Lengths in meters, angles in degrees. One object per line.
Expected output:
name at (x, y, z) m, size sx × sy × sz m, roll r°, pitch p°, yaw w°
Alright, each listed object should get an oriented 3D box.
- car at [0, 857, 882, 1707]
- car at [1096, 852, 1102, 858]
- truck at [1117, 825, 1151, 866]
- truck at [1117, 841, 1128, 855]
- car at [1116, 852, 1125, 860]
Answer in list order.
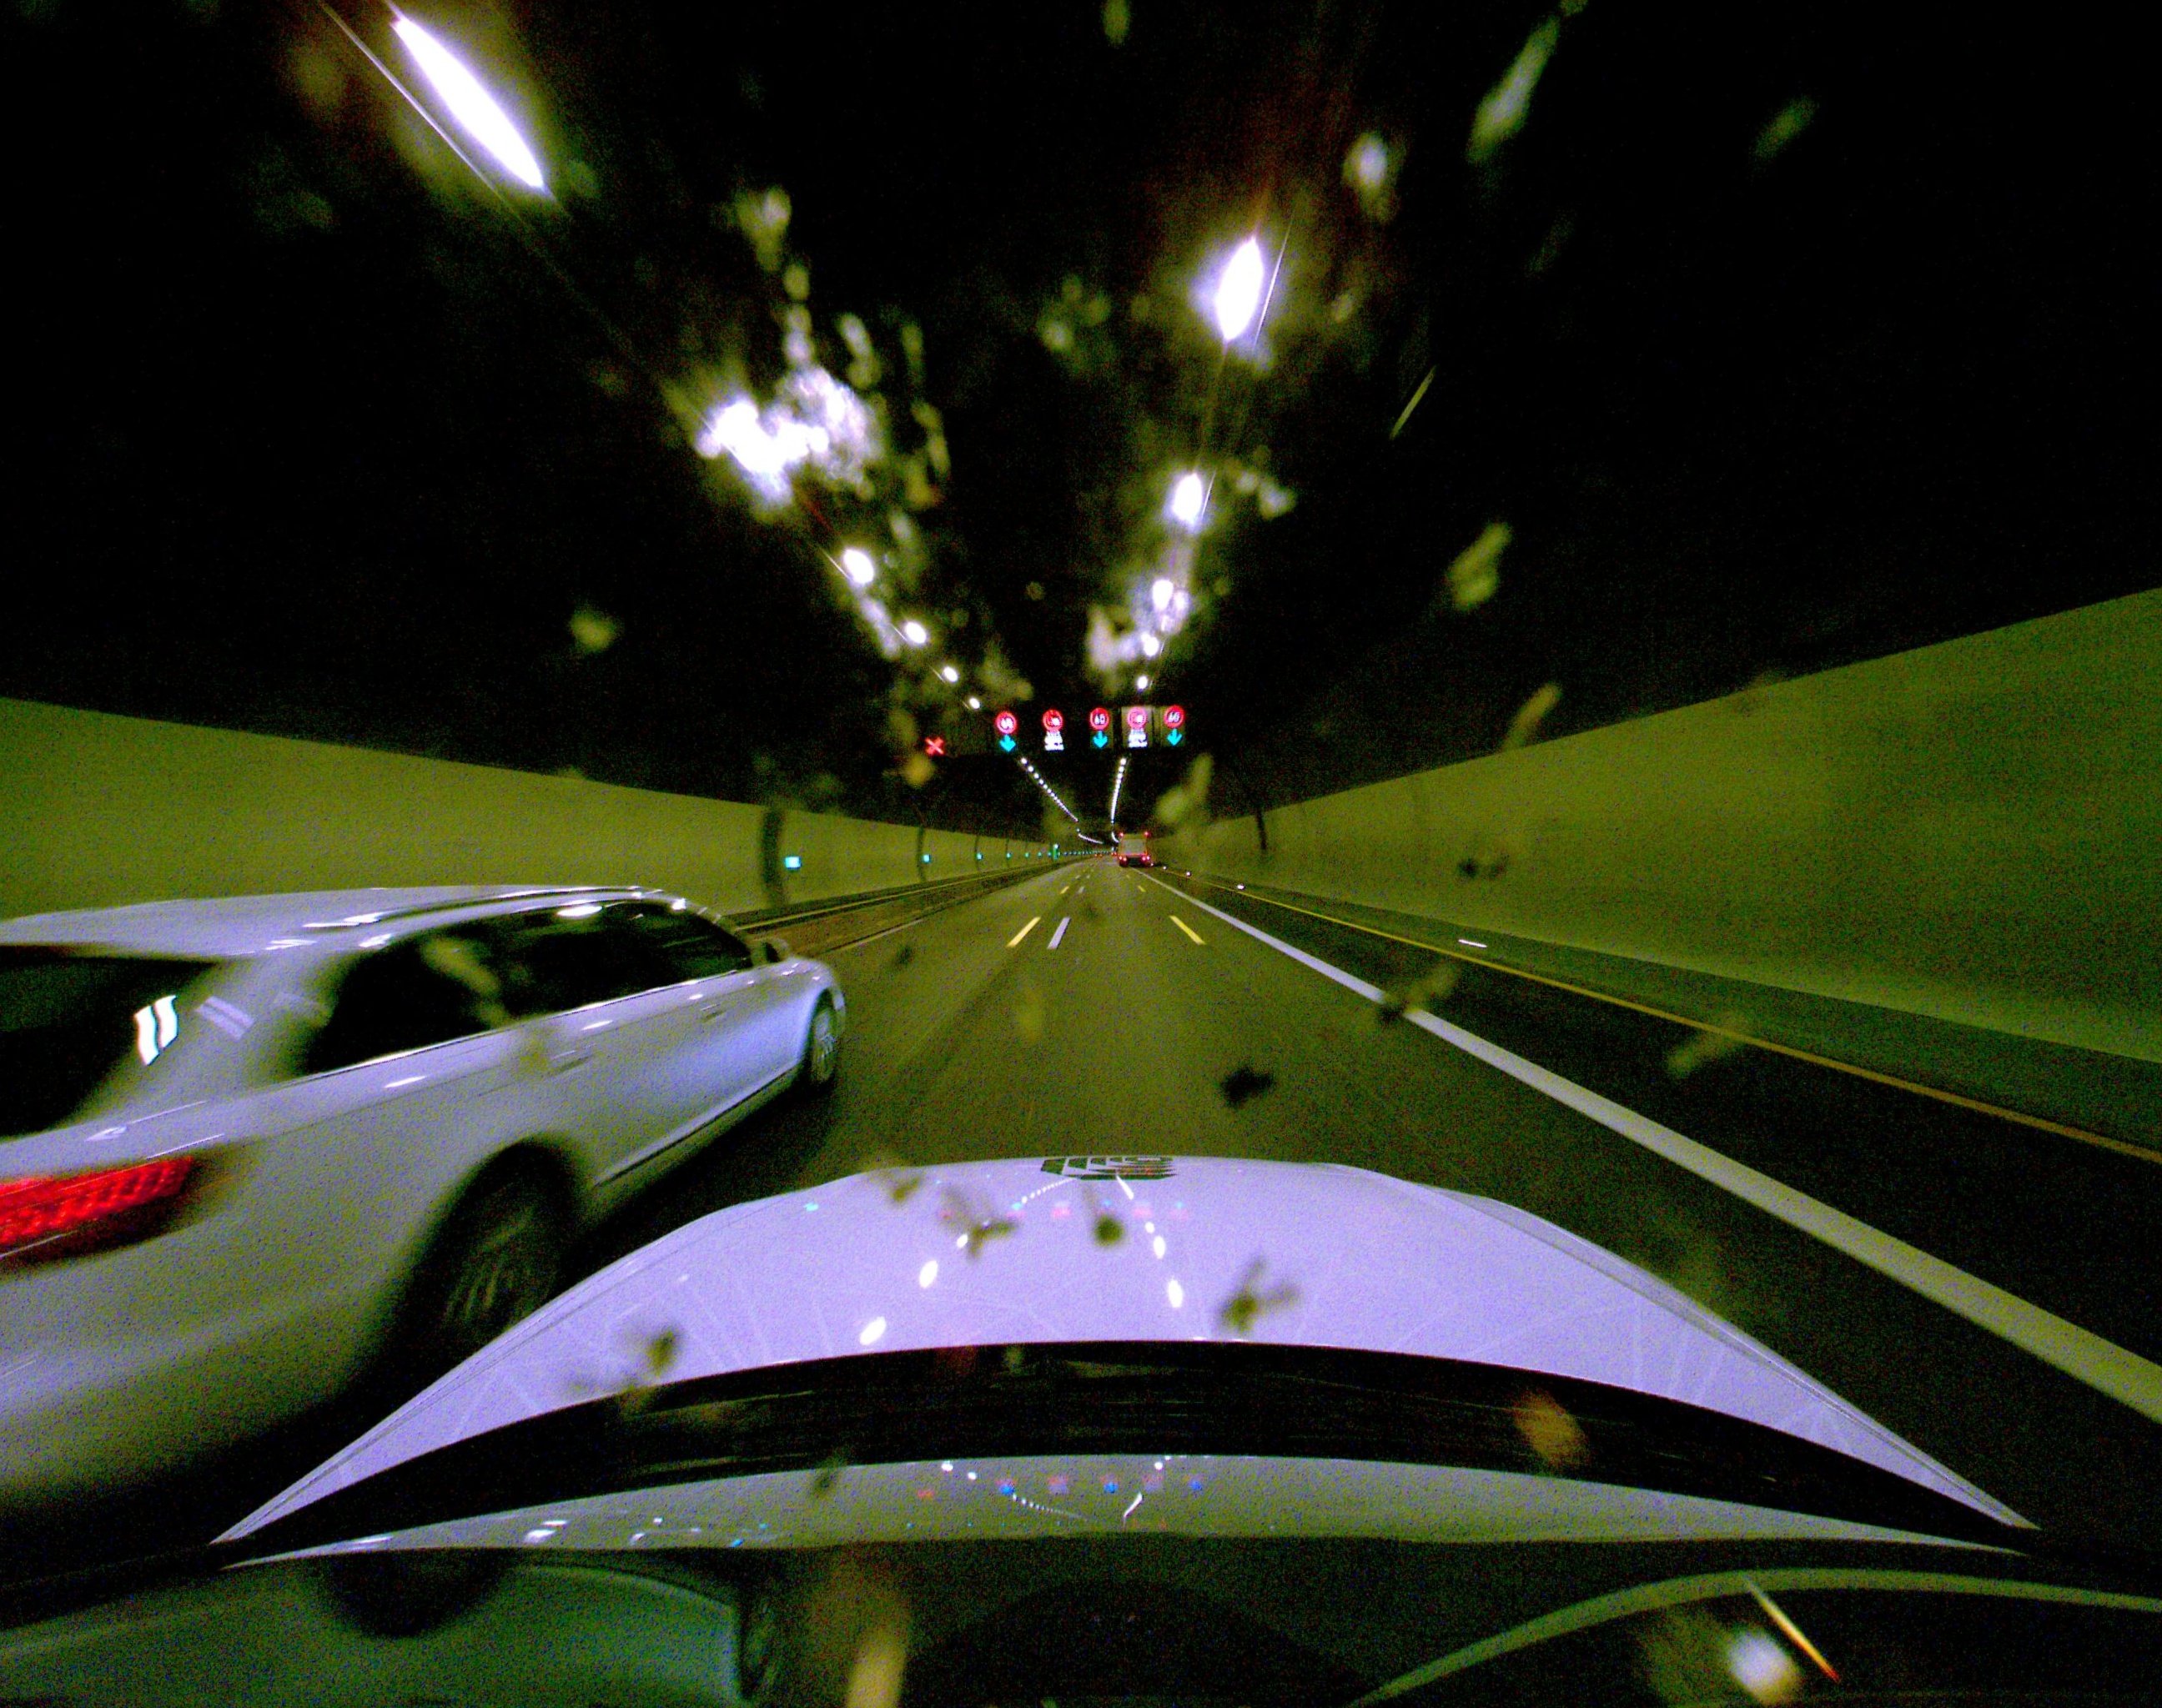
car at (-2.557, 0.873, 3.695) m, size 1.897 × 1.484 × 4.944 m, roll -5°, pitch 1°, yaw 1°
car at (4.946, 0.354, 222.963) m, size 1.752 × 1.461 × 4.121 m, roll -3°, pitch 1°, yaw 2°
truck at (5.442, -0.758, 85.710) m, size 3.080 × 3.918 × 10.372 m, roll -3°, pitch -1°, yaw 2°
truck at (12.237, -1.743, 240.677) m, size 3.054 × 3.918 × 10.376 m, roll -3°, pitch -1°, yaw 3°
car at (8.536, 0.442, 174.645) m, size 1.732 × 1.461 × 3.964 m, roll -3°, pitch 1°, yaw 3°
